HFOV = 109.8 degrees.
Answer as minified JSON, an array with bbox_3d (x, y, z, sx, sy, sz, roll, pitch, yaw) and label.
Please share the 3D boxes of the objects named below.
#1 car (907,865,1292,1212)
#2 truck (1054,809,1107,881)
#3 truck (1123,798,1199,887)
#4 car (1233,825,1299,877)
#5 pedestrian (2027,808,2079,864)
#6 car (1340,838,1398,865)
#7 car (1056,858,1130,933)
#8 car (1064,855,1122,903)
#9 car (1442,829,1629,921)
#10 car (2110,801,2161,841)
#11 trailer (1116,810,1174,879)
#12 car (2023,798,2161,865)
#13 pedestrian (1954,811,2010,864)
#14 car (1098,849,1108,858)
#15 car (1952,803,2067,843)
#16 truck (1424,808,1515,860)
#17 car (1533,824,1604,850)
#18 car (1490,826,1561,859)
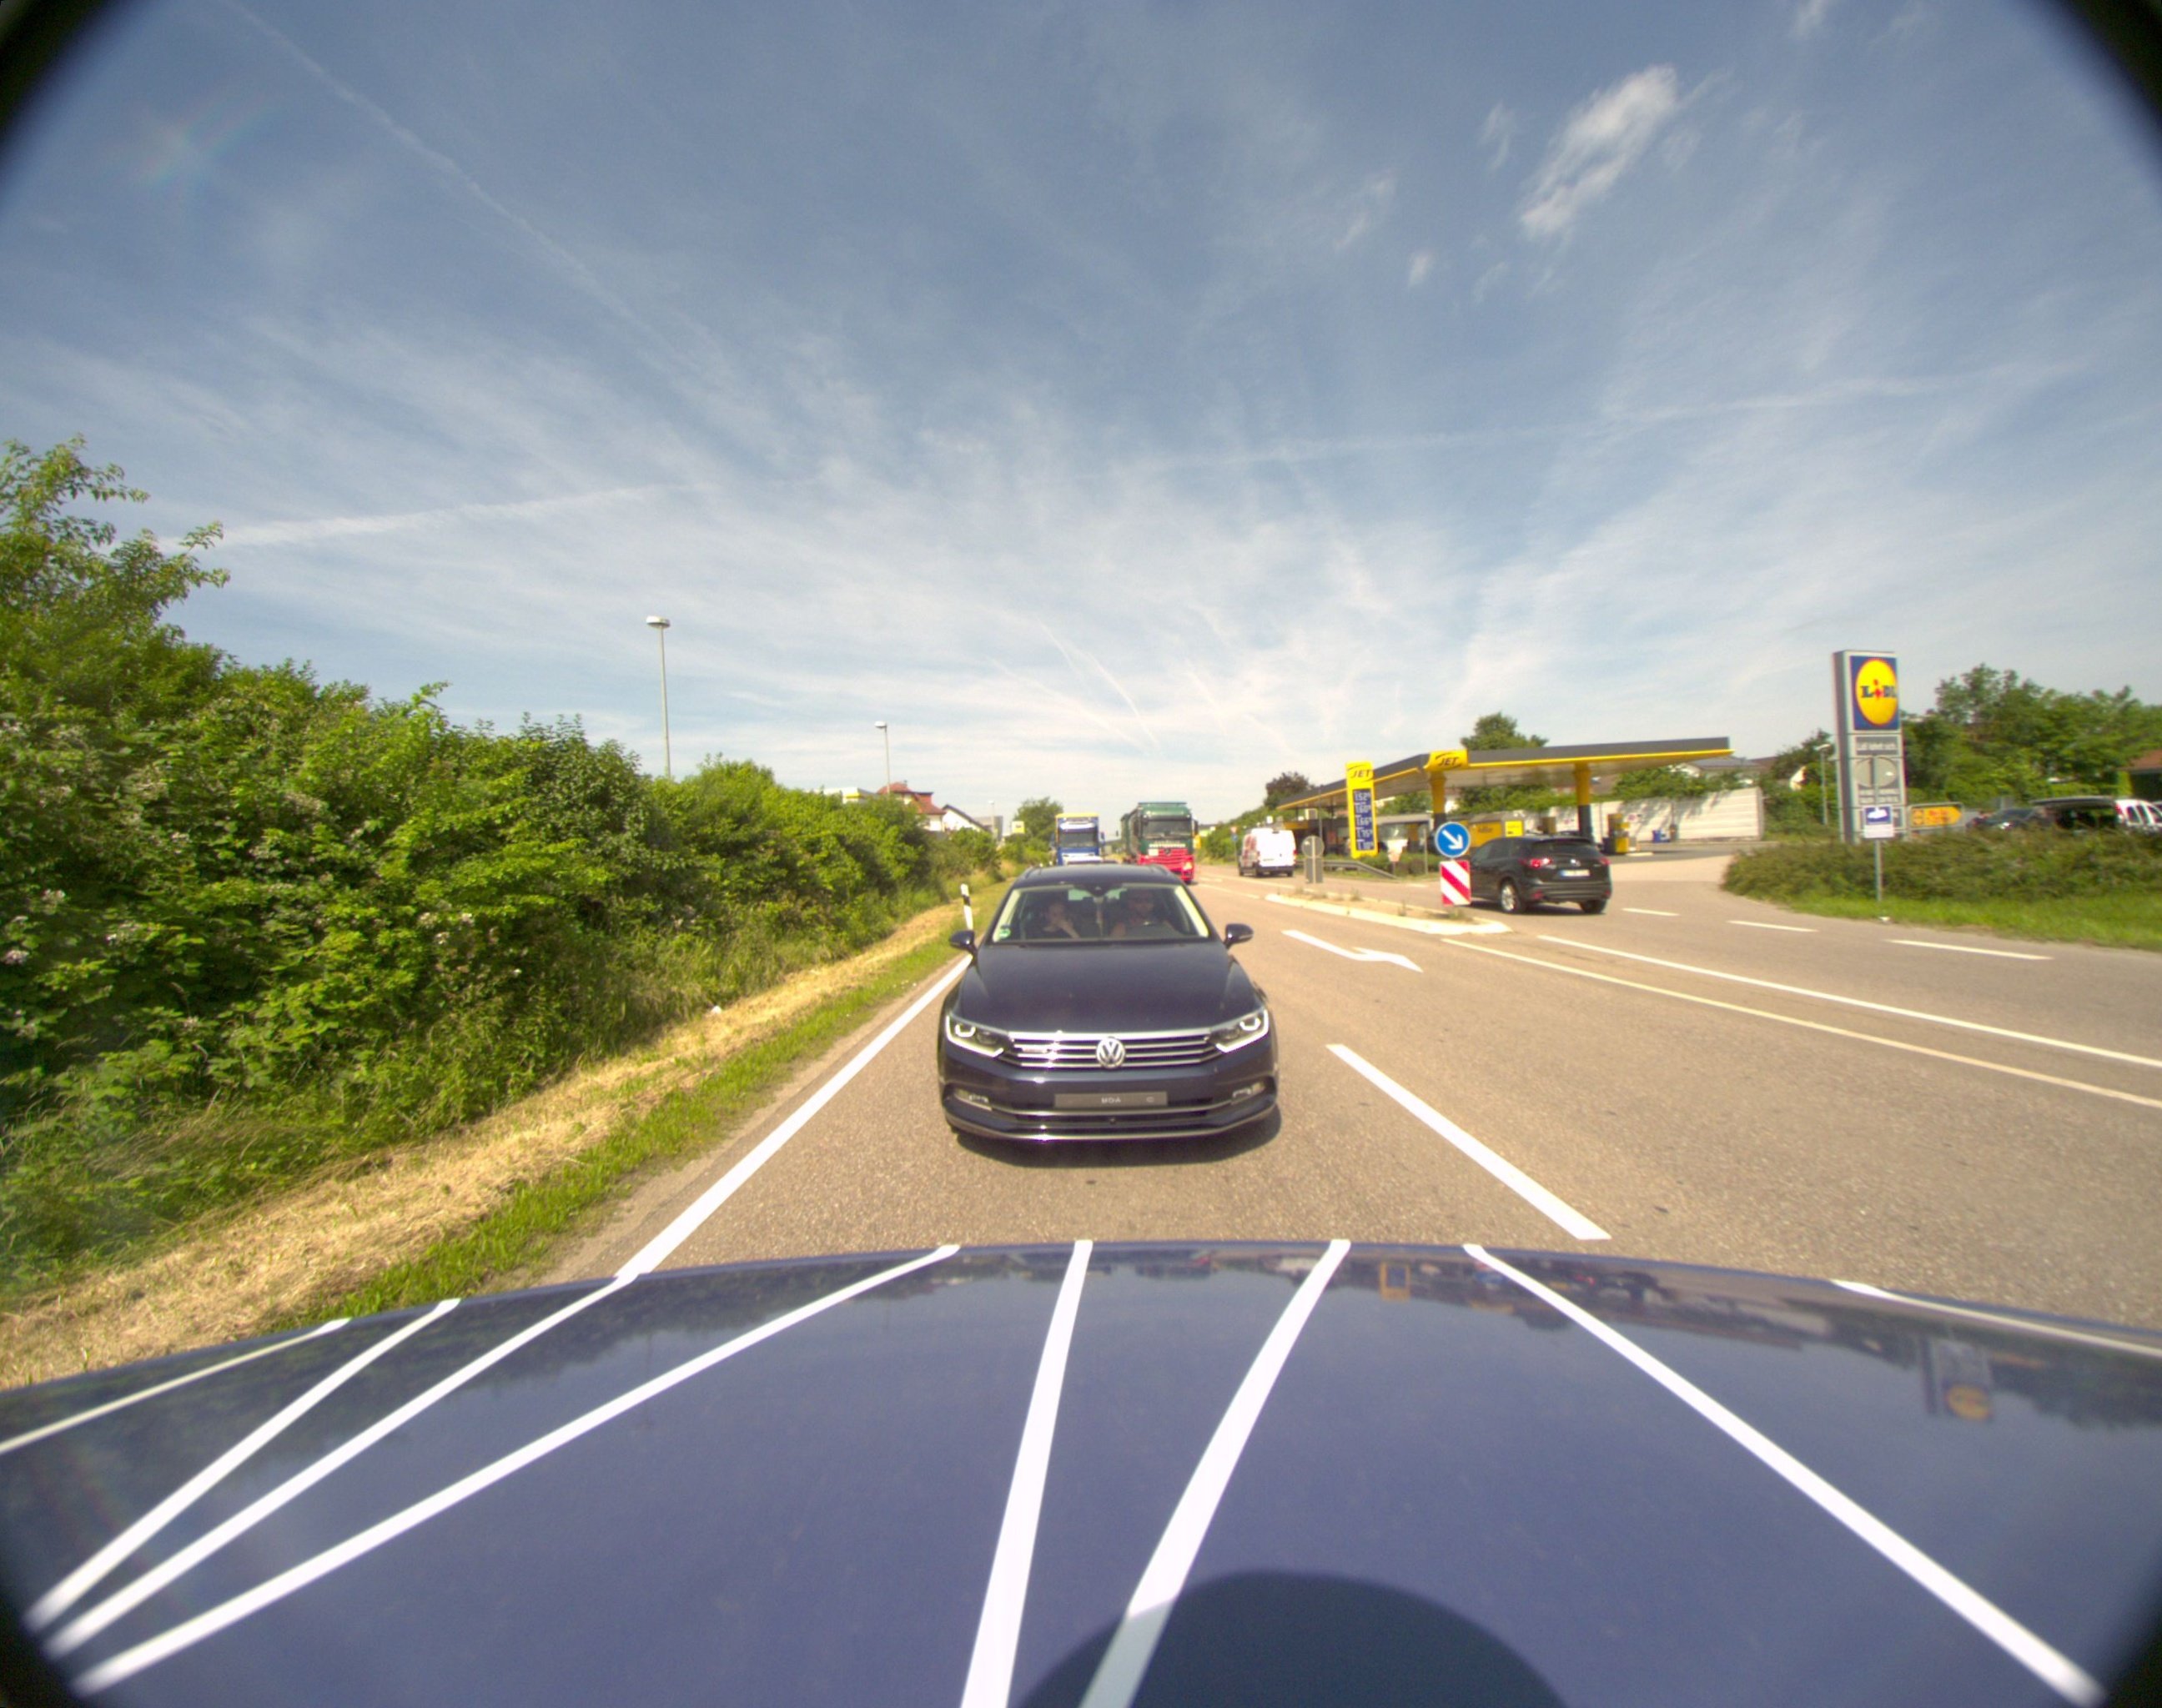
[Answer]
[{"bbox_3d":[0.123,0.904,6.023,1.756,1.493,4.925,-2,0,1],"label":"car"},{"bbox_3d":[0.059,-0.539,49.448,2.855,3.999,12.916,-2,0,1],"label":"truck"},{"bbox_3d":[3.850,-0.517,38.909,2.675,3.897,10.048,-2,0,0],"label":"truck"},{"bbox_3d":[10.283,-0.162,42.832,2.123,2.639,5.985,-2,0,-1],"label":"car"},{"bbox_3d":[28.040,-0.505,21.927,0.705,1.566,0.807,-3,2,-27],"label":"pedestrian"},{"bbox_3d":[19.033,-0.138,50.401,1.999,1.696,4.263,-2,0,-3],"label":"car"},{"bbox_3d":[0.269,0.861,17.394,1.471,1.451,3.797,-2,0,1],"label":"car"},{"bbox_3d":[0.426,0.820,26.528,1.814,1.466,3.973,-2,0,1],"label":"car"},{"bbox_3d":[9.813,0.377,16.834,1.870,1.740,4.110,-2,1,4],"label":"car"},{"bbox_3d":[44.669,-1.440,30.769,3.999,1.531,1.769,-3,0,-7],"label":"car"},{"bbox_3d":[3.883,-0.589,48.246,2.808,3.897,8.668,-2,0,0],"label":"trailer"},{"bbox_3d":[30.685,-0.674,22.812,4.172,1.801,1.877,-3,1,-23],"label":"car"},{"bbox_3d":[27.179,-0.488,22.936,0.703,1.566,0.810,-2,0,9],"label":"pedestrian"},{"bbox_3d":[4.053,-0.061,139.441,1.819,1.626,3.893,-2,0,1],"label":"car"},{"bbox_3d":[42.537,-1.425,34.829,4.001,1.531,1.768,-3,0,-15],"label":"car"},{"bbox_3d":[23.846,-1.190,47.015,2.250,2.906,6.282,-2,1,-1],"label":"truck"},{"bbox_3d":[32.189,-1.101,50.321,1.753,1.603,3.873,-2,0,-10],"label":"car"},{"bbox_3d":[24.239,-0.580,41.623,1.736,1.718,4.001,-1,0,3],"label":"car"}]
